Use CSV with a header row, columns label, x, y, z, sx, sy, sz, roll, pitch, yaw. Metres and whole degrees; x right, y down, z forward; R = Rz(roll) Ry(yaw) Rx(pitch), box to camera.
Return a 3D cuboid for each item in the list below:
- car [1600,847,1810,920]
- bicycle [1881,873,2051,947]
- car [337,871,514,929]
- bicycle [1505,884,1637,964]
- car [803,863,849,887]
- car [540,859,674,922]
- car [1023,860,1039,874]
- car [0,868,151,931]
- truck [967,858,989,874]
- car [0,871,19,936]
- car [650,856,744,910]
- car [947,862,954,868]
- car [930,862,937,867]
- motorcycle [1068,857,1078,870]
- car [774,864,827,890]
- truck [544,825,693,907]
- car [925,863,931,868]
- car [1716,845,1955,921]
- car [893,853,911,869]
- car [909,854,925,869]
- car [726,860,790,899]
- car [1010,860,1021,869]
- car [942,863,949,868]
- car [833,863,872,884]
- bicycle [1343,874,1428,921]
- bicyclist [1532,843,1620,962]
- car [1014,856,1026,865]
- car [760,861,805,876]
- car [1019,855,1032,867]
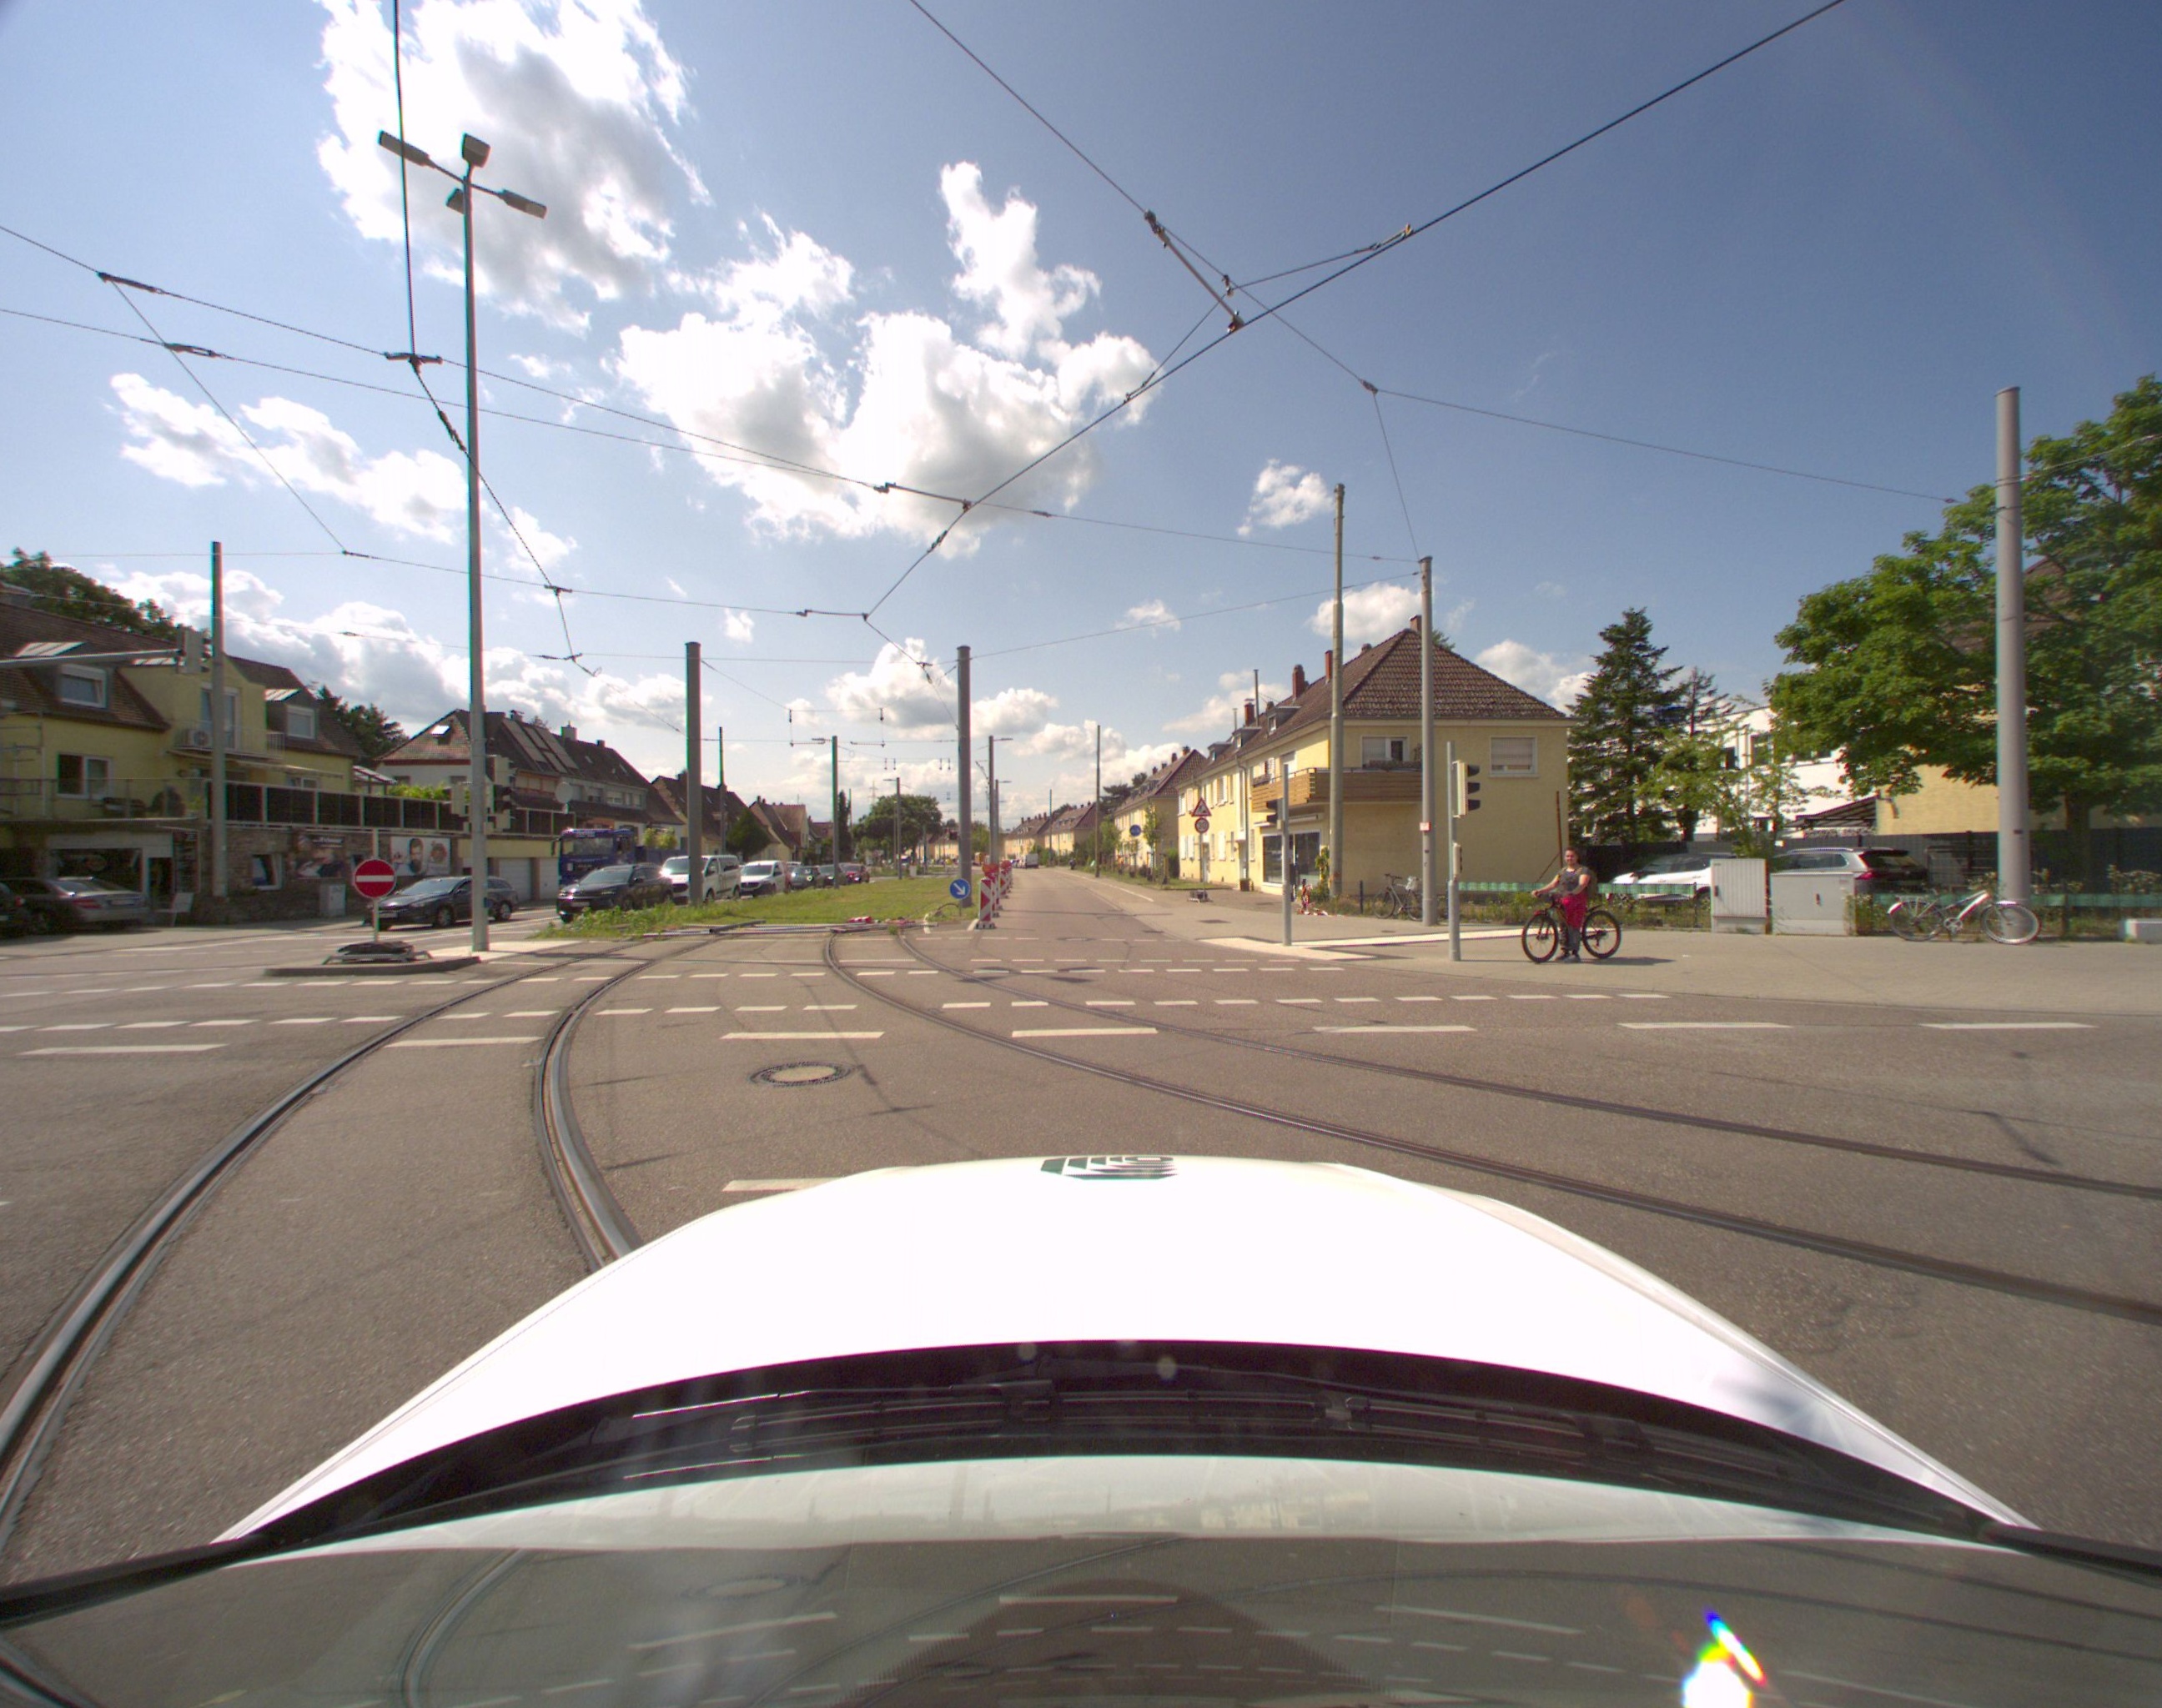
label,x,y,z,sx,sy,sz,roll,pitch,yaw
car,15.229,0.715,20.186,1.820,1.621,3.989,-1,-2,-7
bicycle,14.329,0.874,13.272,1.785,1.105,0.707,-1,-1,41
car,-18.972,1.272,23.882,1.823,1.487,4.329,0,-1,-3
bicycle,7.564,1.046,12.555,2.037,1.102,0.709,0,-1,-25
car,-16.515,1.340,53.006,1.841,1.413,4.906,-1,-1,-6
car,-14.503,1.051,25.232,1.783,1.720,4.434,-1,0,-4
car,-7.592,1.934,122.828,2.064,2.149,4.865,-1,-1,-7
car,-27.143,1.155,21.054,4.129,1.493,1.432,1,-1,-6
truck,-23.288,2.779,183.597,2.650,3.494,9.370,0,-1,-21
car,-27.212,1.111,18.342,4.129,1.493,1.504,1,-1,-6
car,-14.794,1.051,31.663,1.812,1.922,4.738,0,-1,-6
car,-34.651,2.915,215.605,1.263,1.426,2.645,0,-1,-23
car,-41.721,2.910,230.559,1.263,1.351,2.643,0,-1,-24
motorcycle,-0.972,1.138,97.401,1.065,1.635,2.079,-1,-1,-6
car,-15.843,1.278,46.172,1.912,1.419,3.992,-1,-1,-6
truck,-19.821,0.505,35.526,2.765,3.188,7.566,0,-1,-6
car,-44.007,3.201,234.600,1.172,1.426,2.643,0,-1,-26
car,18.017,0.693,19.739,1.820,1.621,3.989,-1,-2,-7
car,-26.715,1.111,121.631,2.411,2.338,4.854,0,-1,-15
car,-26.957,1.248,133.817,2.411,2.370,4.854,0,0,-15
car,-15.626,1.191,39.565,1.730,1.782,4.395,-1,-1,-6
car,-11.545,1.881,143.086,1.568,1.551,3.774,-1,-1,-11
car,-36.587,3.098,220.391,1.263,1.426,2.643,0,-1,-24
car,-16.777,1.423,59.916,1.840,1.494,4.848,-1,-1,-4
bicycle,7.636,1.066,20.542,0.595,1.096,2.259,0,-1,-23
bicyclist,7.656,0.723,12.605,0.961,1.775,0.714,0,-1,-24
car,-10.293,1.072,137.395,1.568,1.551,3.774,-1,0,-11
car,-32.335,1.570,88.338,4.101,1.466,1.988,-1,0,-5
car,-9.055,1.078,132.472,1.568,1.897,3.774,0,-1,-11
